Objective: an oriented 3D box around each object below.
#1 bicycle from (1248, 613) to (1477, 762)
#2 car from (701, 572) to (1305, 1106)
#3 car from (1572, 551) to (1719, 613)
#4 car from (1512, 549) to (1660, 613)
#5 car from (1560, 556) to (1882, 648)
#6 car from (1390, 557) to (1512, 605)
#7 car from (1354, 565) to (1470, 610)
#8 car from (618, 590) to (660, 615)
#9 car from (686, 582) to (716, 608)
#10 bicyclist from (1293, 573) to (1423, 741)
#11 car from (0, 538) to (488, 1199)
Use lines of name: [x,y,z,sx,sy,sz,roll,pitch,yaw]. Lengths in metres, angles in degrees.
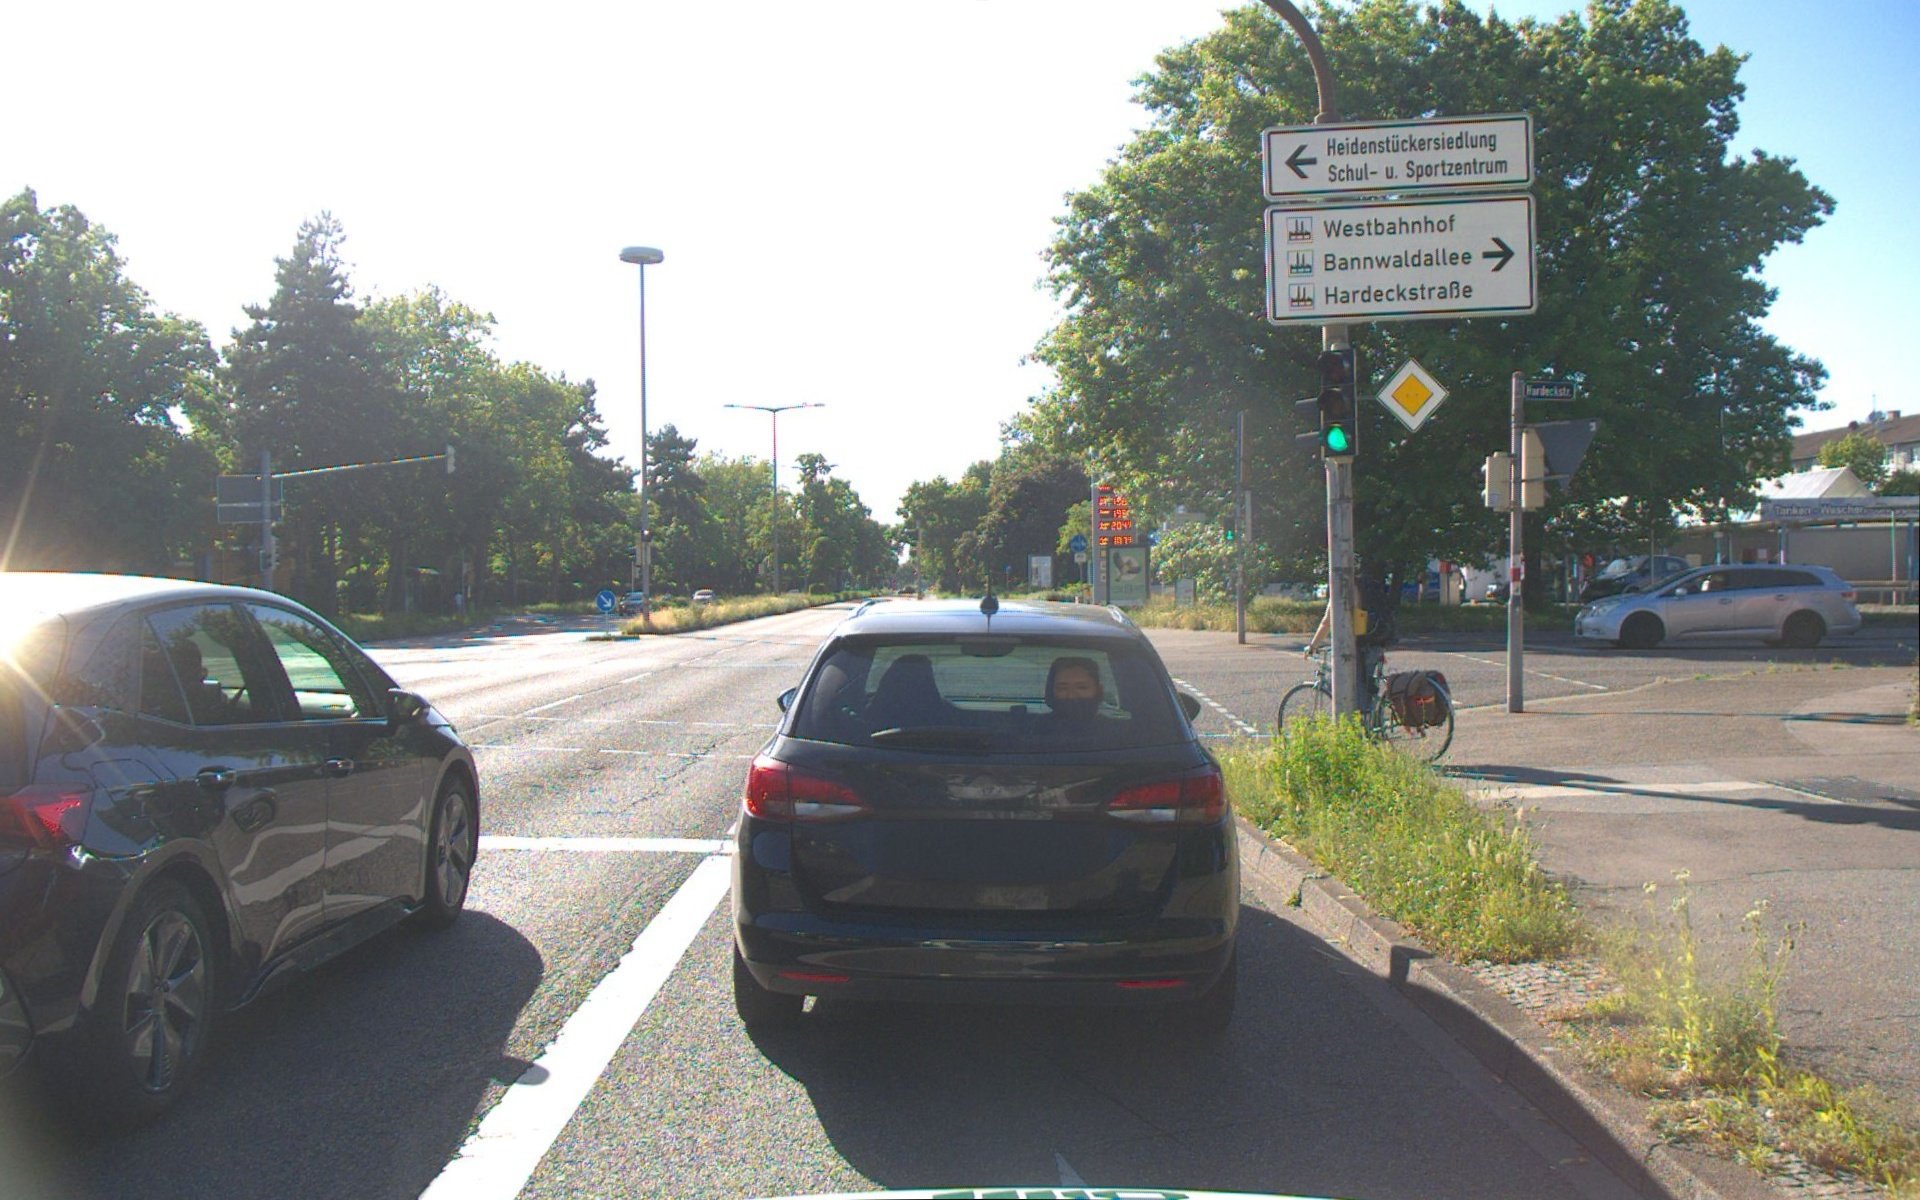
bicycle: [3.221,0.705,13.373,0.533,1.117,1.748,-2,-2,-44]
car: [0.097,0.690,6.840,1.721,1.521,4.206,0,0,-1]
car: [19.985,-0.535,48.198,3.934,1.709,1.732,-2,0,-24]
car: [18.931,-0.590,50.005,3.935,1.780,1.985,-2,1,-24]
car: [13.534,0.032,29.706,4.897,1.512,2.002,-1,0,11]
car: [16.906,-0.653,56.987,3.837,1.544,1.732,-2,0,-24]
car: [16.429,-0.466,60.062,3.837,1.544,1.732,-2,0,-24]
car: [-20.530,0.144,105.982,1.953,1.556,3.999,-2,0,-1]
car: [-21.830,-0.435,139.547,1.953,2.049,3.999,-2,0,-1]
bicyclist: [3.214,0.458,13.375,0.534,1.299,0.816,-2,-2,-44]
car: [-3.004,0.664,5.608,1.650,1.608,4.206,0,0,-1]
